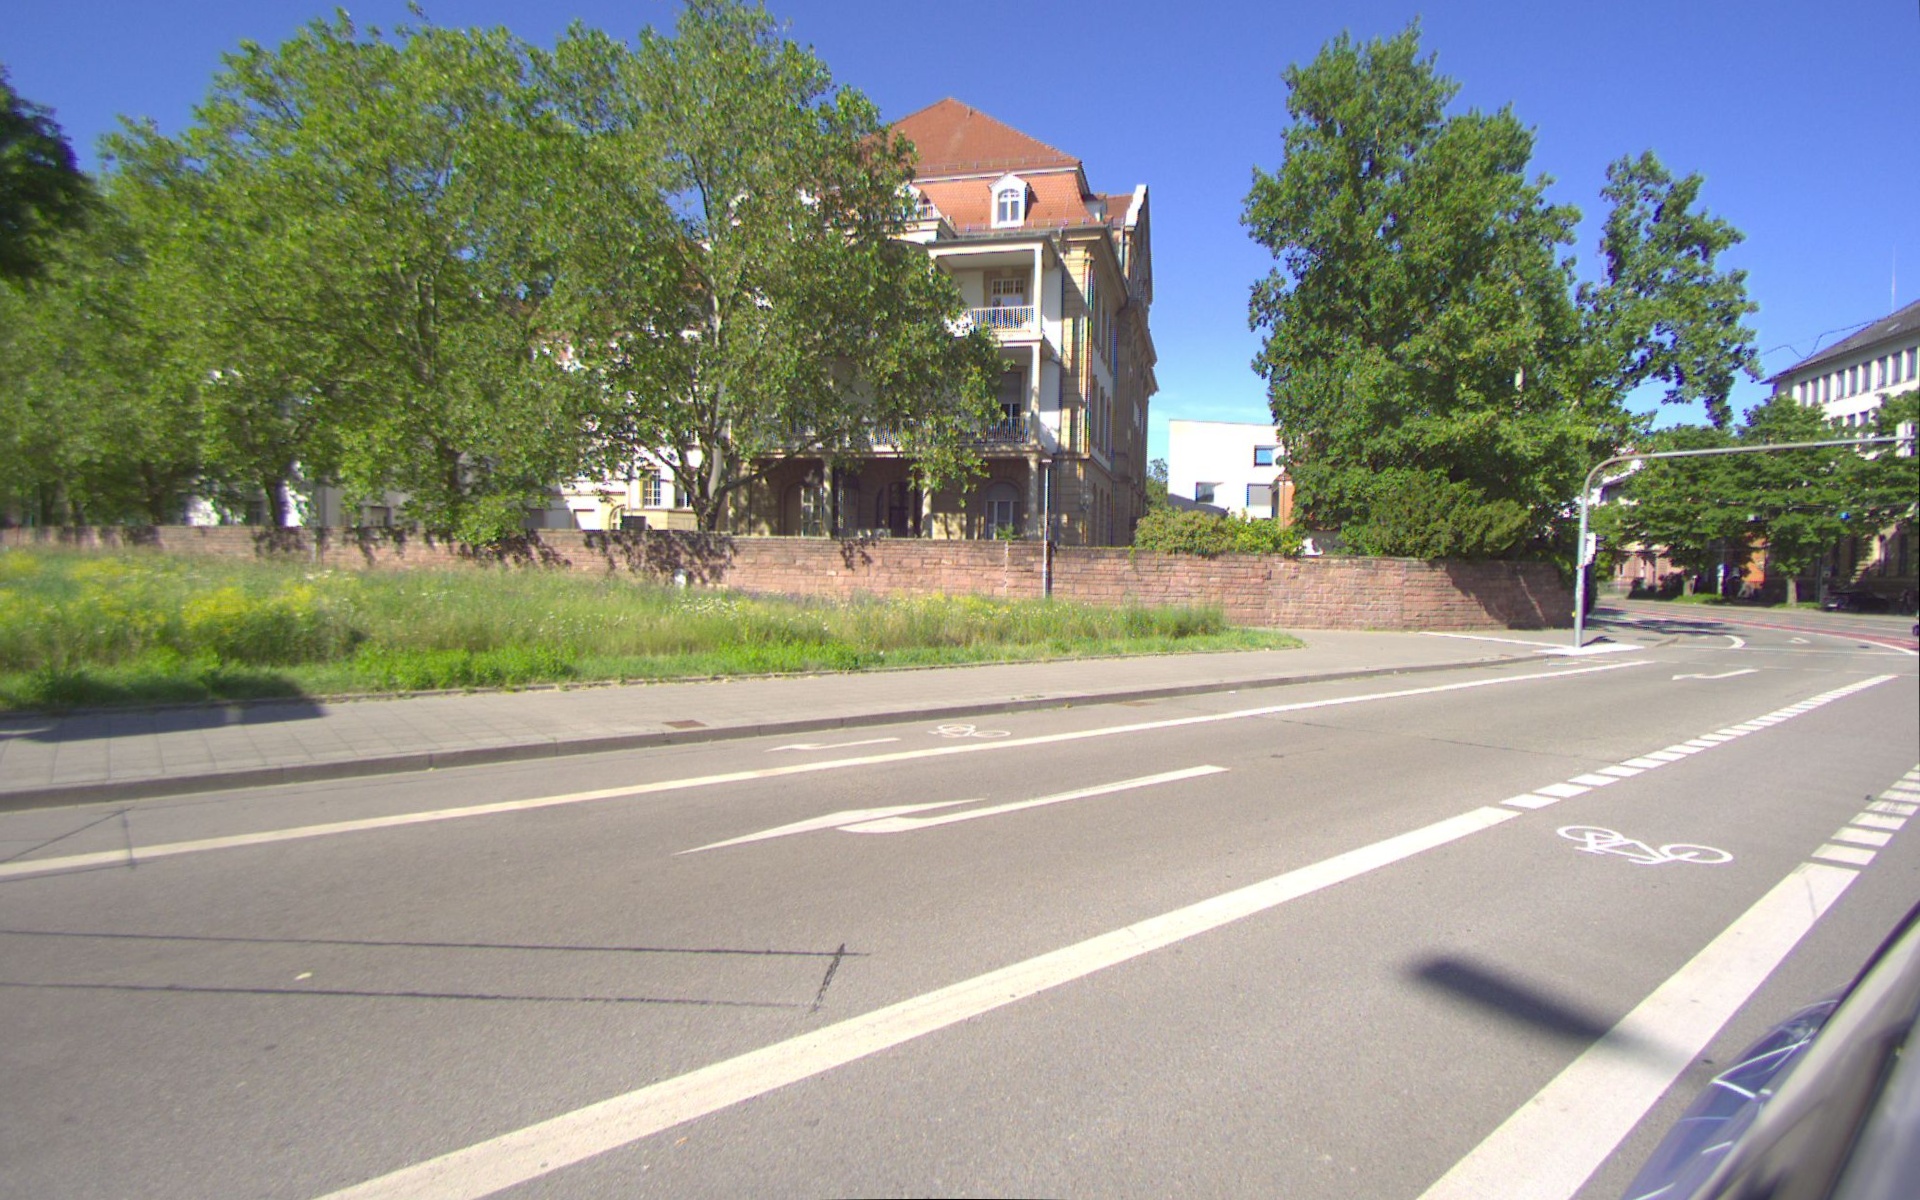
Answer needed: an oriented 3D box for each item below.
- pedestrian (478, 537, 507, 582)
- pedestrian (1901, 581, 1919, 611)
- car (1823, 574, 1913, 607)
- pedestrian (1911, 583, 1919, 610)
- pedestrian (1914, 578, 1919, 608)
[{"bbox_3d":[-15.615,-1.338,33.793,0.516,1.461,0.721,0,0,20],"label":"pedestrian"},{"bbox_3d":[59.885,-0.265,63.152,1.366,1.844,0.937,1,1,4],"label":"pedestrian"},{"bbox_3d":[61.211,-0.648,68.252,4.615,2.038,2.004,1,2,-9],"label":"car"},{"bbox_3d":[62.974,-0.232,66.389,0.670,1.745,0.584,1,3,27],"label":"pedestrian"},{"bbox_3d":[62.959,-0.454,66.281,0.514,1.916,0.360,1,1,16],"label":"pedestrian"}]
